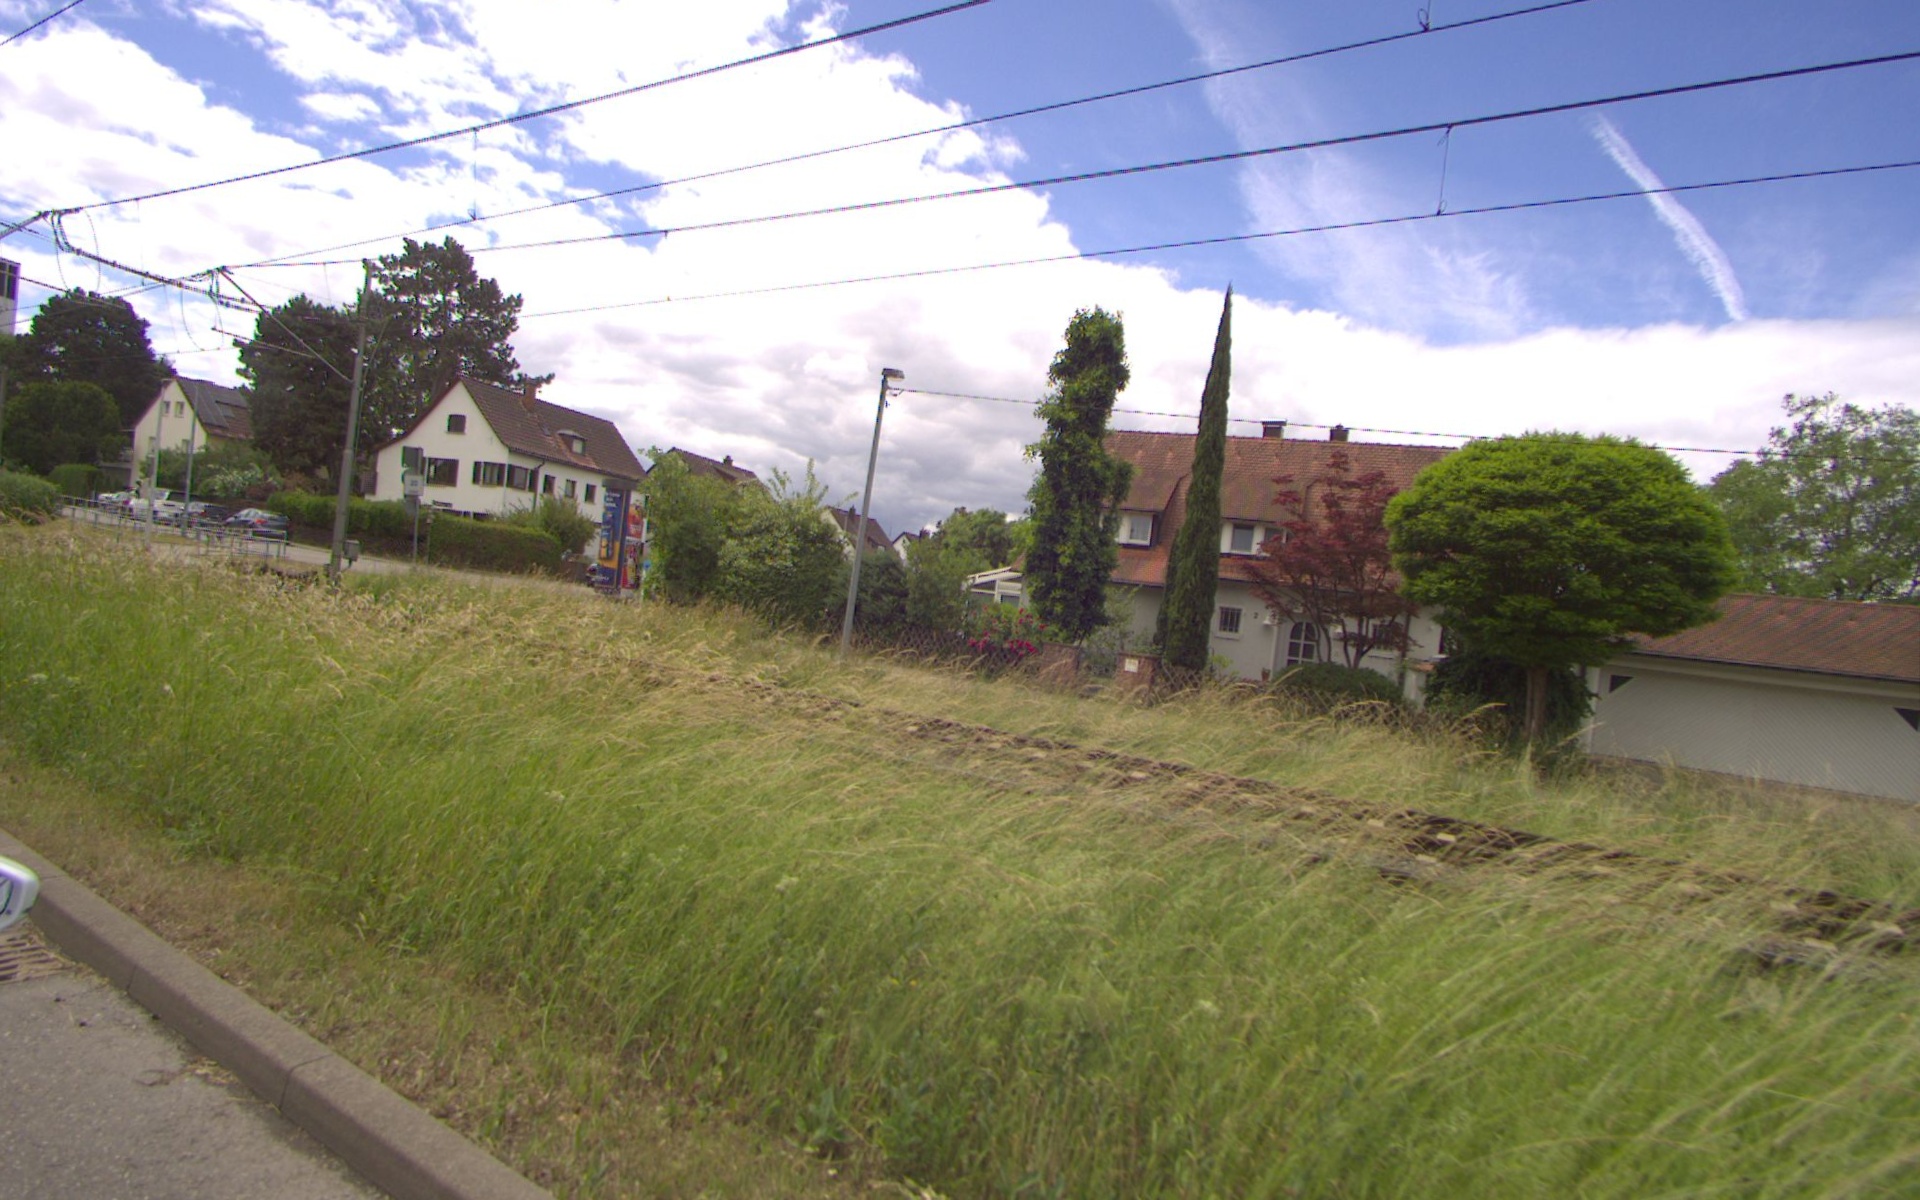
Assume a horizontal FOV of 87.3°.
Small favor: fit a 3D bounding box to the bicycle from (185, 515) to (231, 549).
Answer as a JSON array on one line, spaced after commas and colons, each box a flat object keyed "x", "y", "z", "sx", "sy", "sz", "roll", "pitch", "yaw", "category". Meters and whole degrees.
[{"x": -28.854, "y": -2.614, "z": 38.590, "sx": 2.498, "sy": 1.058, "sz": 0.538, "roll": 7, "pitch": 1, "yaw": 33, "category": "bicycle"}]

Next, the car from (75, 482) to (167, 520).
[{"x": -55.697, "y": -6.557, "z": 66.866, "sx": 1.715, "sy": 1.970, "sz": 4.332, "roll": 7, "pitch": 3, "yaw": 26, "category": "car"}]

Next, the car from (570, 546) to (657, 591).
[{"x": -16.004, "y": -1.435, "z": 46.606, "sx": 1.791, "sy": 1.643, "sz": 3.732, "roll": 7, "pitch": 0, "yaw": 18, "category": "car"}]

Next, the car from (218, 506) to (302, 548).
[{"x": -33.626, "y": -3.516, "z": 48.303, "sx": 3.935, "sy": 1.541, "sz": 1.885, "roll": 7, "pitch": 0, "yaw": 33, "category": "car"}]

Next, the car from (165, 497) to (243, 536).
[{"x": -38.794, "y": -4.277, "z": 51.594, "sx": 3.935, "sy": 1.541, "sz": 1.885, "roll": 7, "pitch": 0, "yaw": 33, "category": "car"}]

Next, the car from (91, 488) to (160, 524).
[{"x": -47.577, "y": -5.357, "z": 57.336, "sx": 3.935, "sy": 1.541, "sz": 1.885, "roll": 7, "pitch": 0, "yaw": 33, "category": "car"}]

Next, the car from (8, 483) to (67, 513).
[{"x": -60.420, "y": -6.681, "z": 65.883, "sx": 3.935, "sy": 1.541, "sz": 1.885, "roll": 7, "pitch": 0, "yaw": 33, "category": "car"}]

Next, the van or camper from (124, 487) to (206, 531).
[{"x": -42.761, "y": -4.914, "z": 54.086, "sx": 4.965, "sy": 1.848, "sz": 1.907, "roll": 7, "pitch": 0, "yaw": 33, "category": "van or camper"}]
